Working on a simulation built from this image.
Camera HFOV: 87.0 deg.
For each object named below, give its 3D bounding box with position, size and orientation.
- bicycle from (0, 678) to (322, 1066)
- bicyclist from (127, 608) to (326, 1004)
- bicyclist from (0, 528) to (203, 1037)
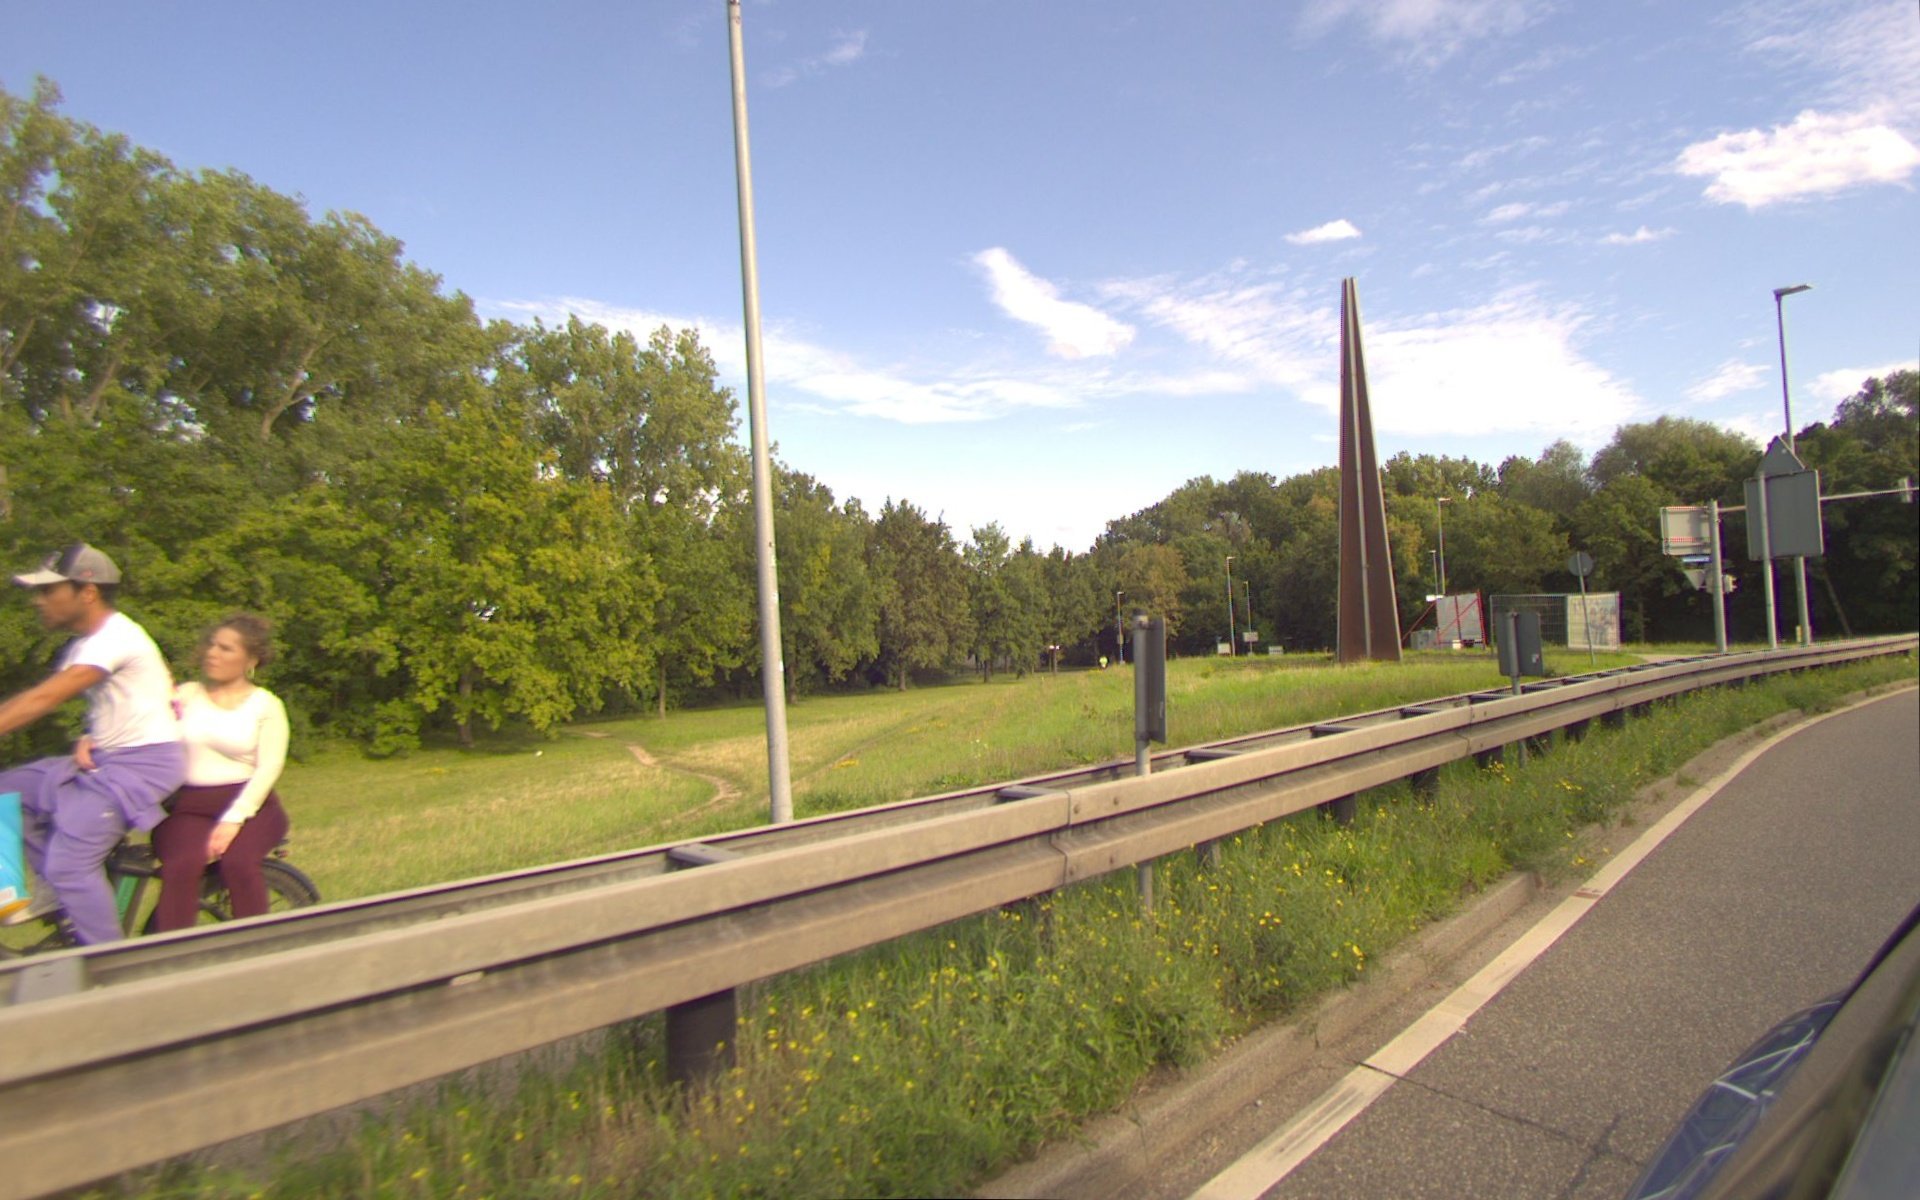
[{"bbox_3d":[-3.195,0.897,3.423,0.596,1.135,1.669,-2,-1,45],"label":"bicycle"},{"bbox_3d":[-2.725,0.693,3.760,0.530,1.318,0.500,0,-1,-45],"label":"bicyclist"},{"bbox_3d":[-3.133,0.568,3.498,0.742,1.577,0.707,0,-1,-45],"label":"bicyclist"}]
